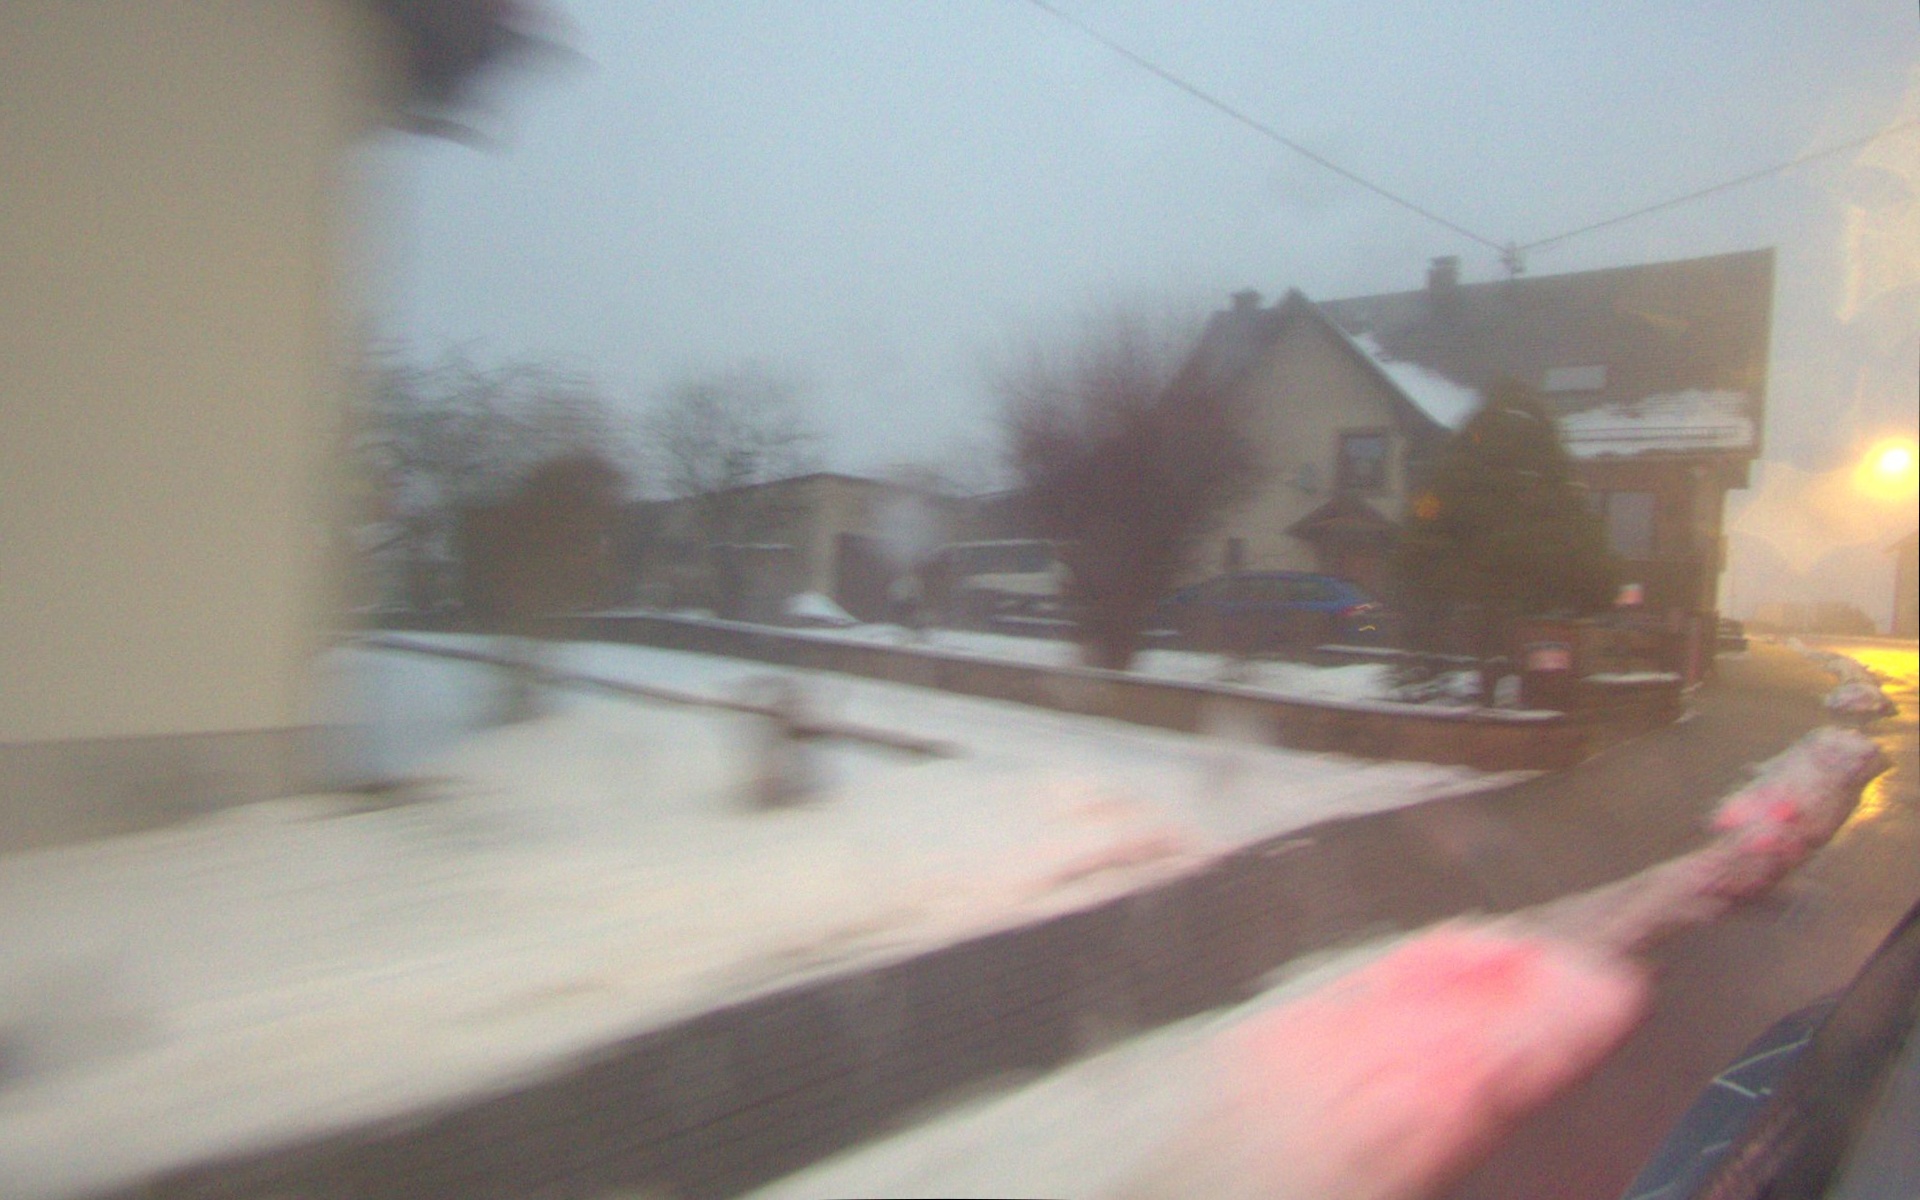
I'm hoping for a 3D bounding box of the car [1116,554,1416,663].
[{"bbox_3d":[5.052,0.083,17.007,4.439,1.607,1.972,1,1,39],"label":"car"}]

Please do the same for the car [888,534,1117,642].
[{"bbox_3d":[0.792,-0.239,20.475,4.363,1.950,1.972,1,1,39],"label":"car"}]
